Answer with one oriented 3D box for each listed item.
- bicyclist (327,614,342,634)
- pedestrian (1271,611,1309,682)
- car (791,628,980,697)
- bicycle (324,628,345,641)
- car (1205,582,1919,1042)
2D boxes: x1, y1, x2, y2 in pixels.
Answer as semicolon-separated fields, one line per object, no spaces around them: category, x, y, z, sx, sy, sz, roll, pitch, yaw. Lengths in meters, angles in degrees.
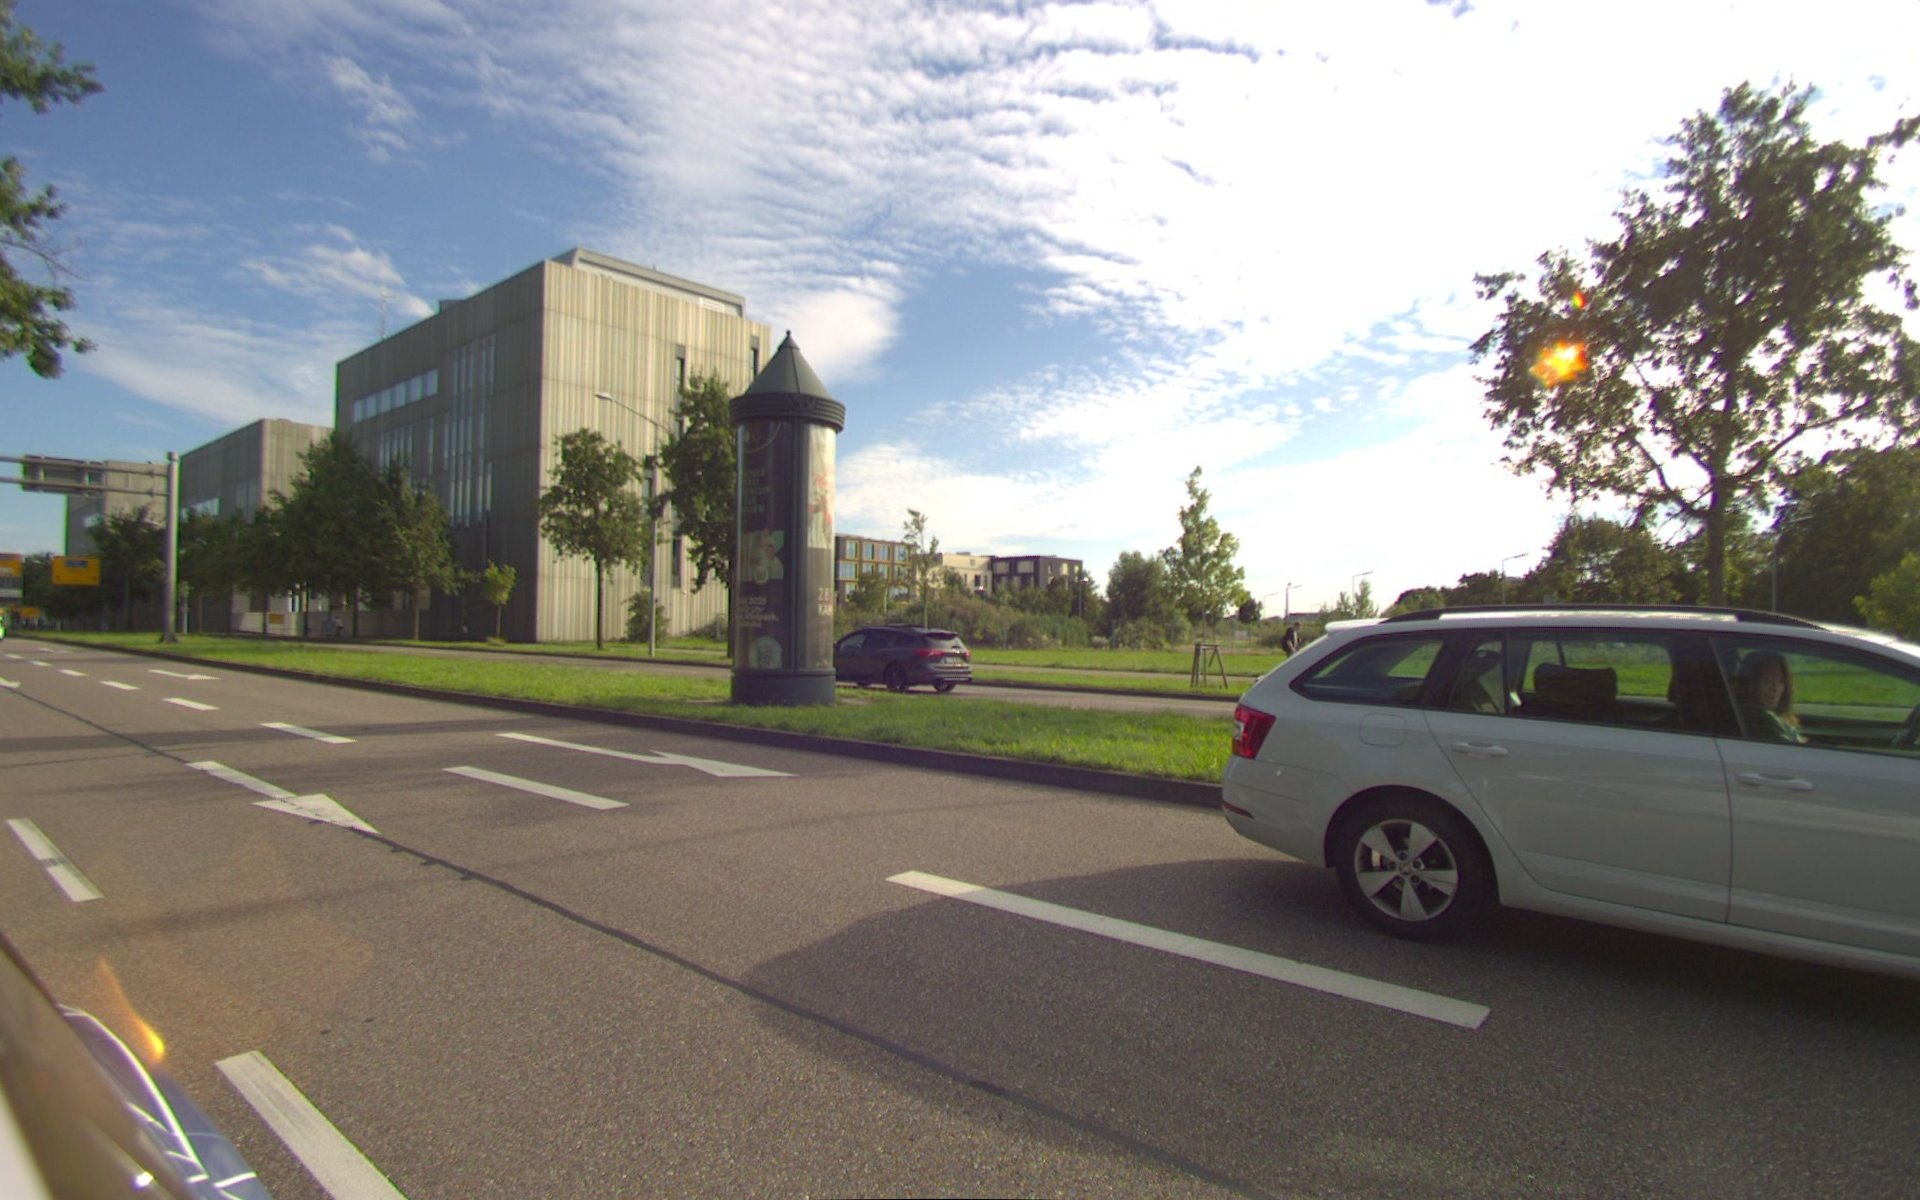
bicyclist;-49.195;1.900;79.620;0.989;1.537;0.698;-1;-3;41
pedestrian;9.534;1.333;29.226;0.867;2.029;0.667;-1;-3;41
car;-1.764;1.402;23.259;4.205;1.420;1.881;-1;-4;41
bicycle;-49.253;2.717;79.650;1.910;0.989;0.885;-1;-3;41
car;3.449;0.706;4.189;4.479;1.510;1.681;-1;-1;41
